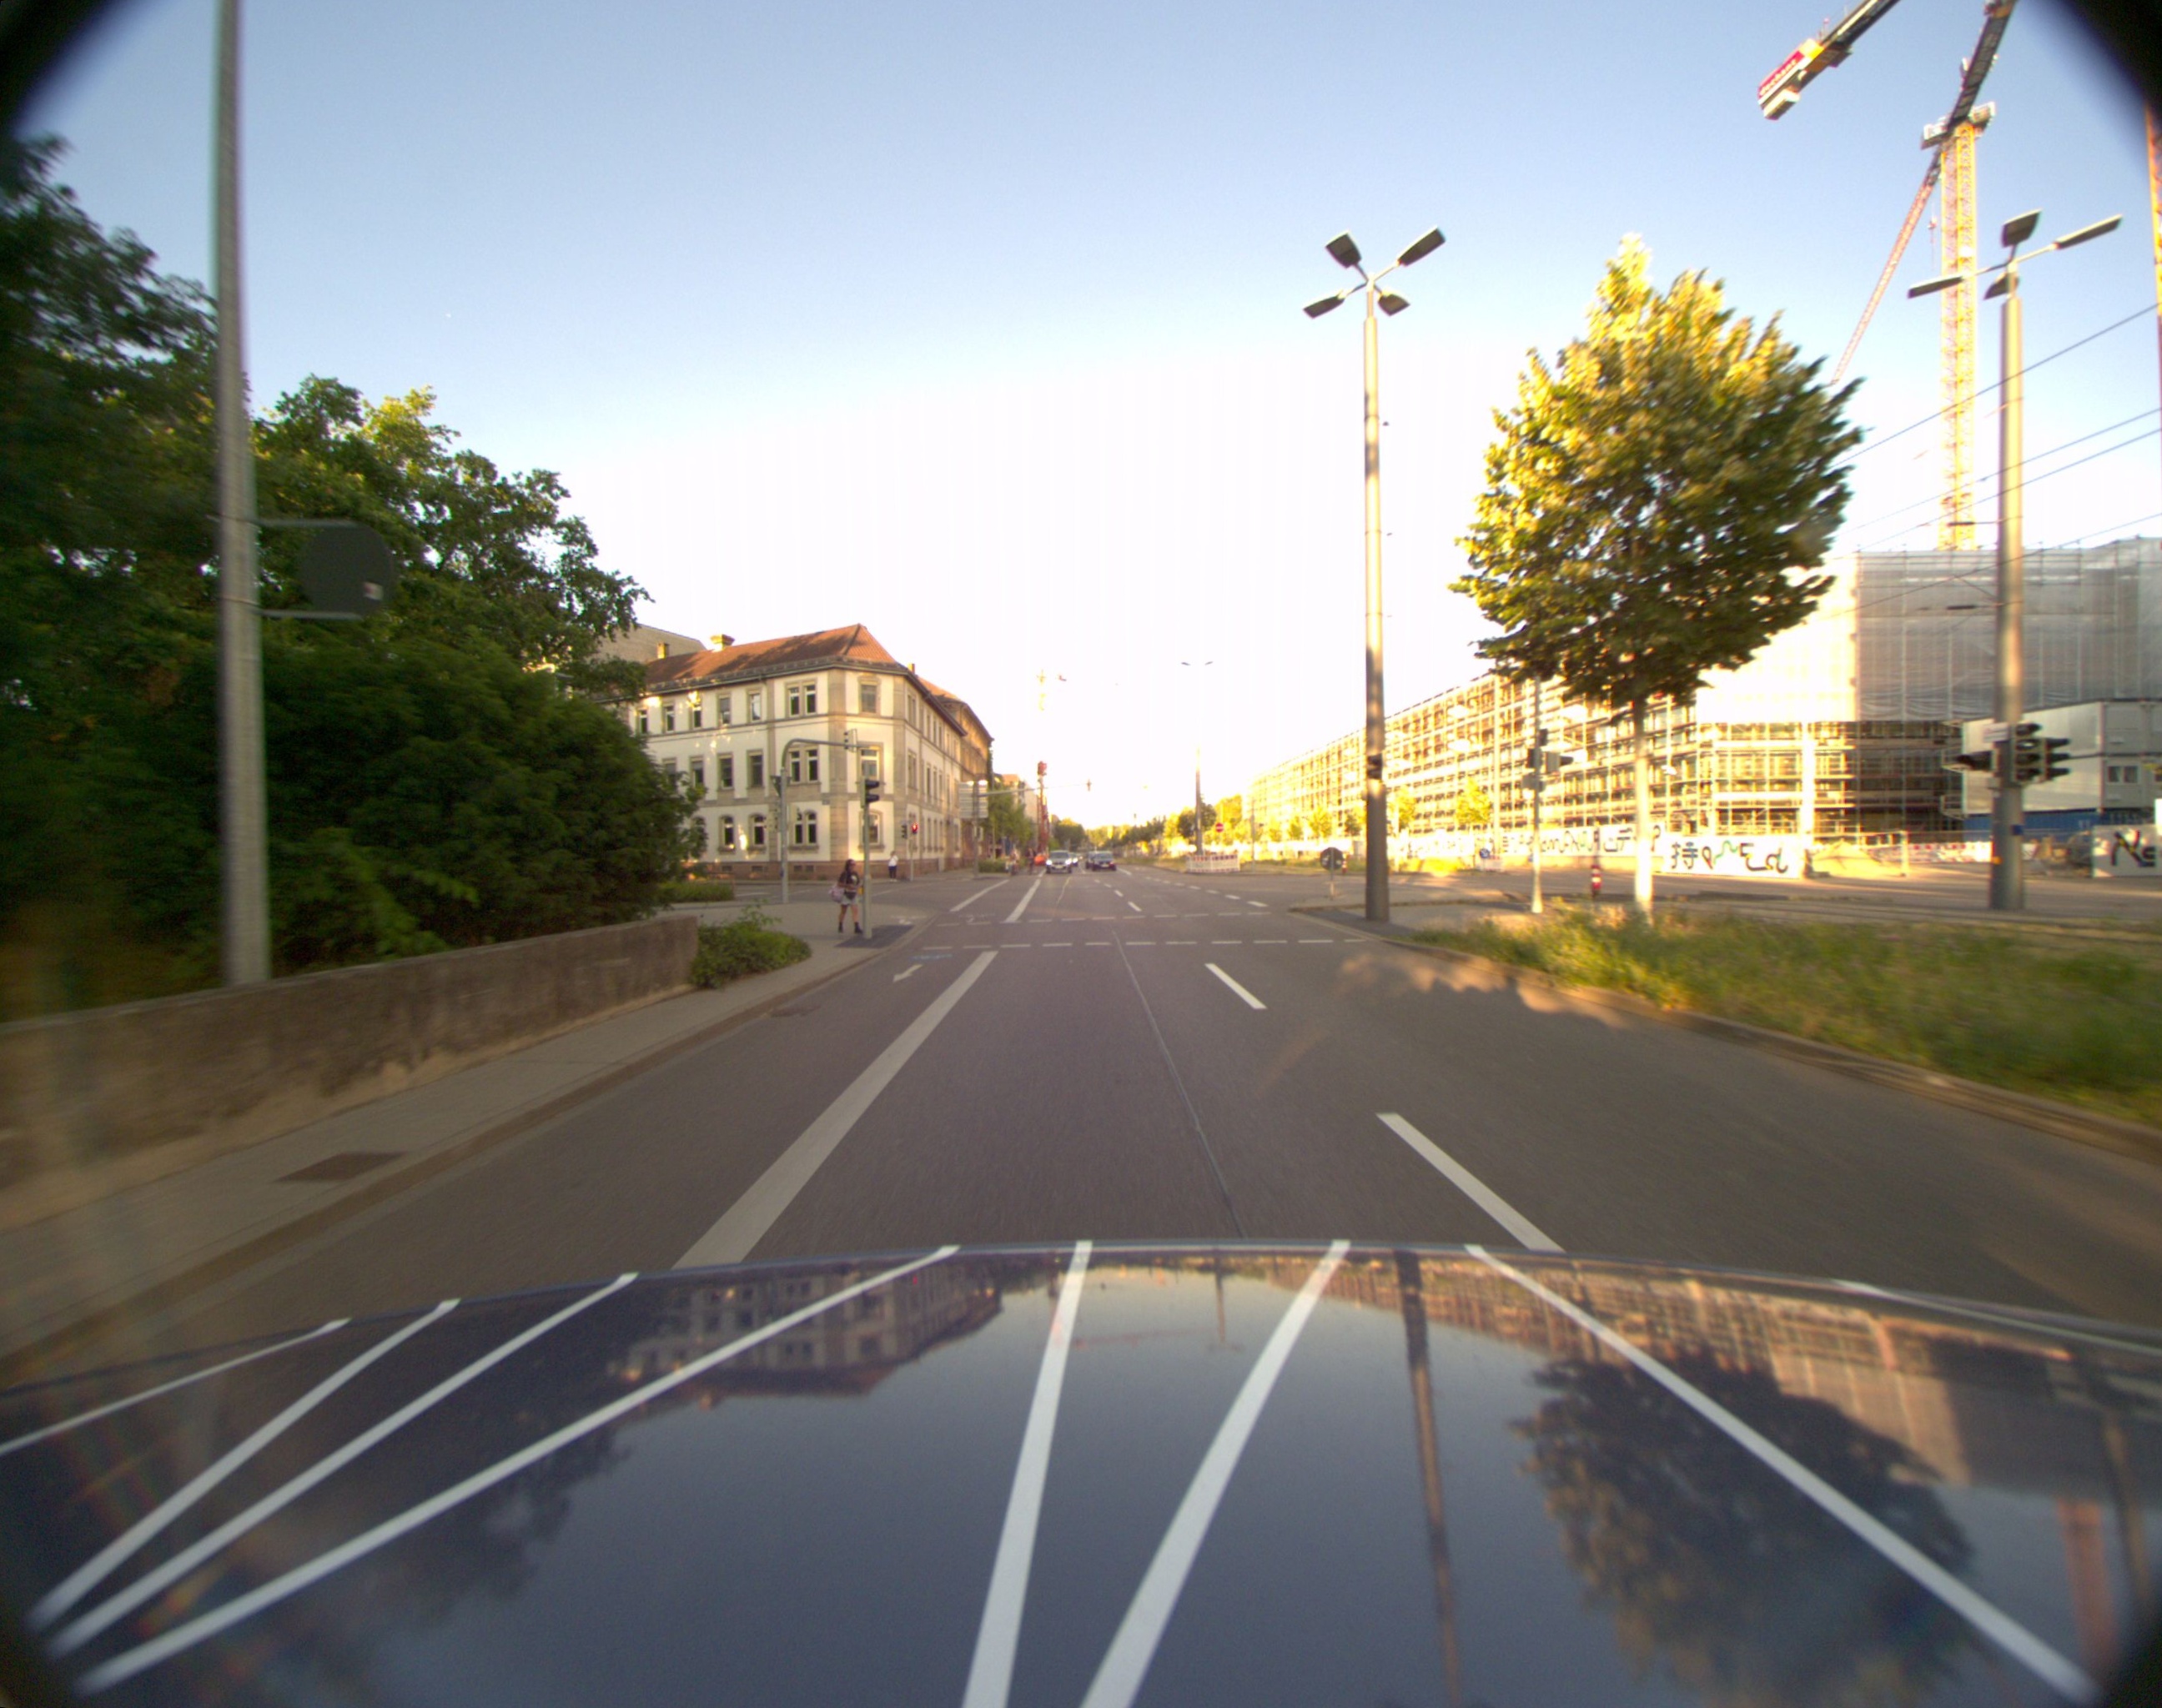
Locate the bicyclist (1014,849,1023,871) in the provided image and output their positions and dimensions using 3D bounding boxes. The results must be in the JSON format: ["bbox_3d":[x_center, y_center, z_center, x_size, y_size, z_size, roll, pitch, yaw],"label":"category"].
[{"bbox_3d":[-4.482,0.445,54.730,0.512,1.540,0.692,1,1,3],"label":"bicyclist"}]

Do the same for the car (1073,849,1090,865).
[{"bbox_3d":[0.055,0.252,78.761,1.702,1.588,3.889,-1,0,1],"label":"car"}]

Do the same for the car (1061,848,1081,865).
[{"bbox_3d":[-1.028,0.212,78.901,1.879,1.652,3.761,-1,0,1],"label":"car"}]

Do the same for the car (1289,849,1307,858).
[{"bbox_3d":[34.759,-0.076,121.703,1.668,1.447,4.067,1,1,-1],"label":"car"}]

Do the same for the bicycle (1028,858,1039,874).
[{"bbox_3d":[-3.297,0.819,52.713,0.721,1.045,2.043,-2,1,-3],"label":"bicycle"}]

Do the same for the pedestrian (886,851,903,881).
[{"bbox_3d":[-10.256,0.637,41.844,0.819,1.647,0.635,-1,1,-20],"label":"pedestrian"}]

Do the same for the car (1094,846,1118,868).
[{"bbox_3d":[1.888,0.205,58.050,1.702,1.588,4.260,-1,0,1],"label":"car"}]

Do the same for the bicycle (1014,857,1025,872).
[{"bbox_3d":[-4.470,0.731,55.038,0.517,1.045,2.044,1,1,3],"label":"bicycle"}]

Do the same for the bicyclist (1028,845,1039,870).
[{"bbox_3d":[-3.330,0.211,52.875,0.705,1.692,0.767,-2,2,-4],"label":"bicyclist"}]

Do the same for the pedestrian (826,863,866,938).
[{"bbox_3d":[-4.795,0.938,15.544,0.580,1.495,0.619,1,1,6],"label":"pedestrian"}]

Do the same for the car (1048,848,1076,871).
[{"bbox_3d":[-1.313,0.389,55.079,1.833,1.588,4.260,-1,0,1],"label":"car"}]

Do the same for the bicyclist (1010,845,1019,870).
[{"bbox_3d":[-4.617,0.207,52.789,0.510,1.692,0.768,2,3,3],"label":"bicyclist"}]

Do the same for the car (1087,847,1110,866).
[{"bbox_3d":[1.527,0.181,66.702,1.861,1.588,4.260,-1,0,1],"label":"car"}]

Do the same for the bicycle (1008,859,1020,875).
[{"bbox_3d":[-4.638,0.904,52.866,0.528,1.045,2.047,2,2,3],"label":"bicycle"}]
